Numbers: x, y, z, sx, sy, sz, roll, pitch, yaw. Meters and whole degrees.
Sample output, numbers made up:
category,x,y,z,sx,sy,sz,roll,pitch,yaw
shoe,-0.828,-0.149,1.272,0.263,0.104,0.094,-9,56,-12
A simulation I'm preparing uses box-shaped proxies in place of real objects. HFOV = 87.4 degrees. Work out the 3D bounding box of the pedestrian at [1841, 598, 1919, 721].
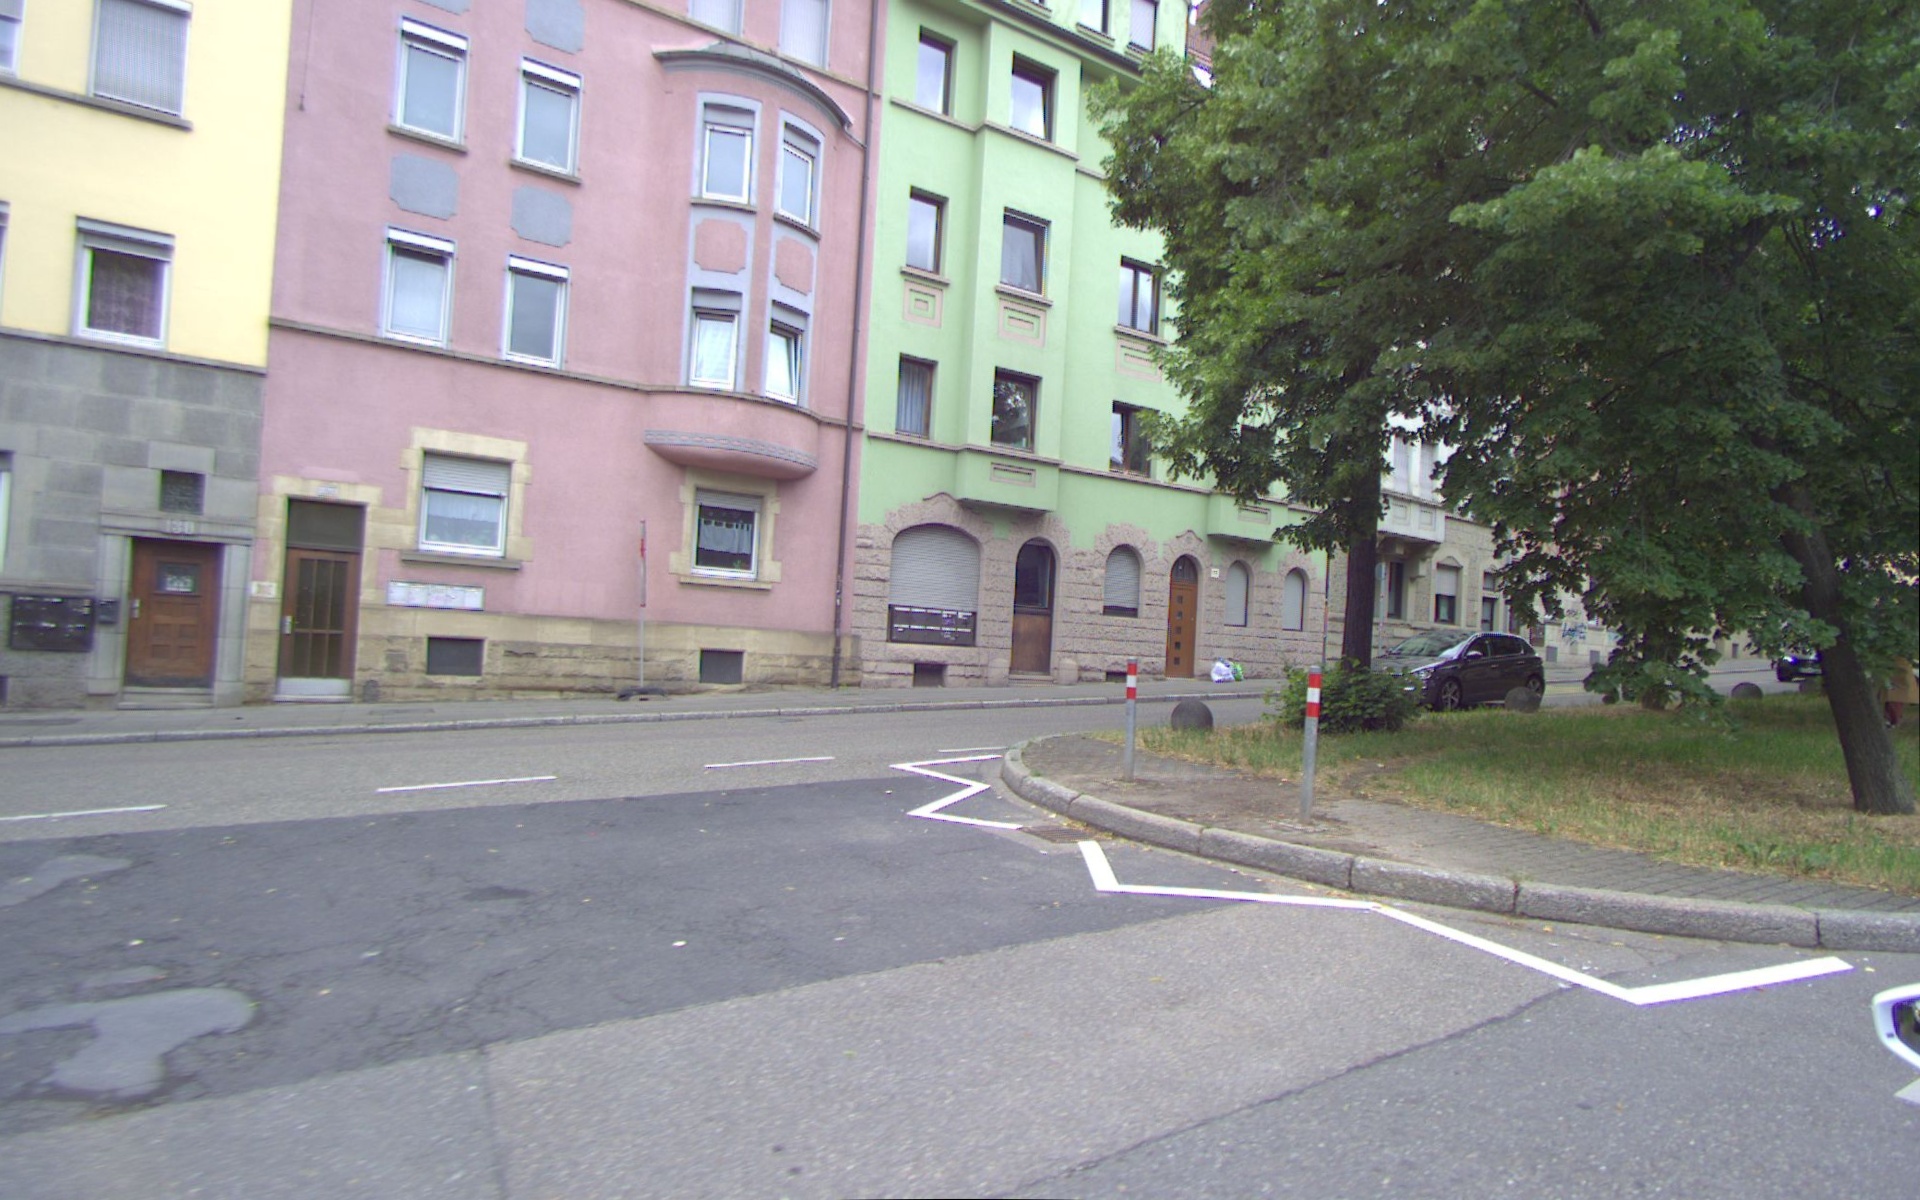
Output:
category,x,y,z,sx,sy,sz,roll,pitch,yaw
pedestrian,13.773,0.883,14.824,1.110,1.734,0.829,3,-5,-31

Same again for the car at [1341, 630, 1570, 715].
category,x,y,z,sx,sy,sz,roll,pitch,yaw
car,9.525,1.308,19.201,4.613,1.401,1.700,0,-1,-31

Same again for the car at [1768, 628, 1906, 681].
category,x,y,z,sx,sy,sz,roll,pitch,yaw
car,26.157,1.579,29.934,4.613,1.401,1.750,0,-1,-31

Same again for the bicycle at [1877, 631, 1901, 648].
category,x,y,z,sx,sy,sz,roll,pitch,yaw
bicycle,63.229,2.709,68.390,0.751,1.099,2.033,3,0,30
